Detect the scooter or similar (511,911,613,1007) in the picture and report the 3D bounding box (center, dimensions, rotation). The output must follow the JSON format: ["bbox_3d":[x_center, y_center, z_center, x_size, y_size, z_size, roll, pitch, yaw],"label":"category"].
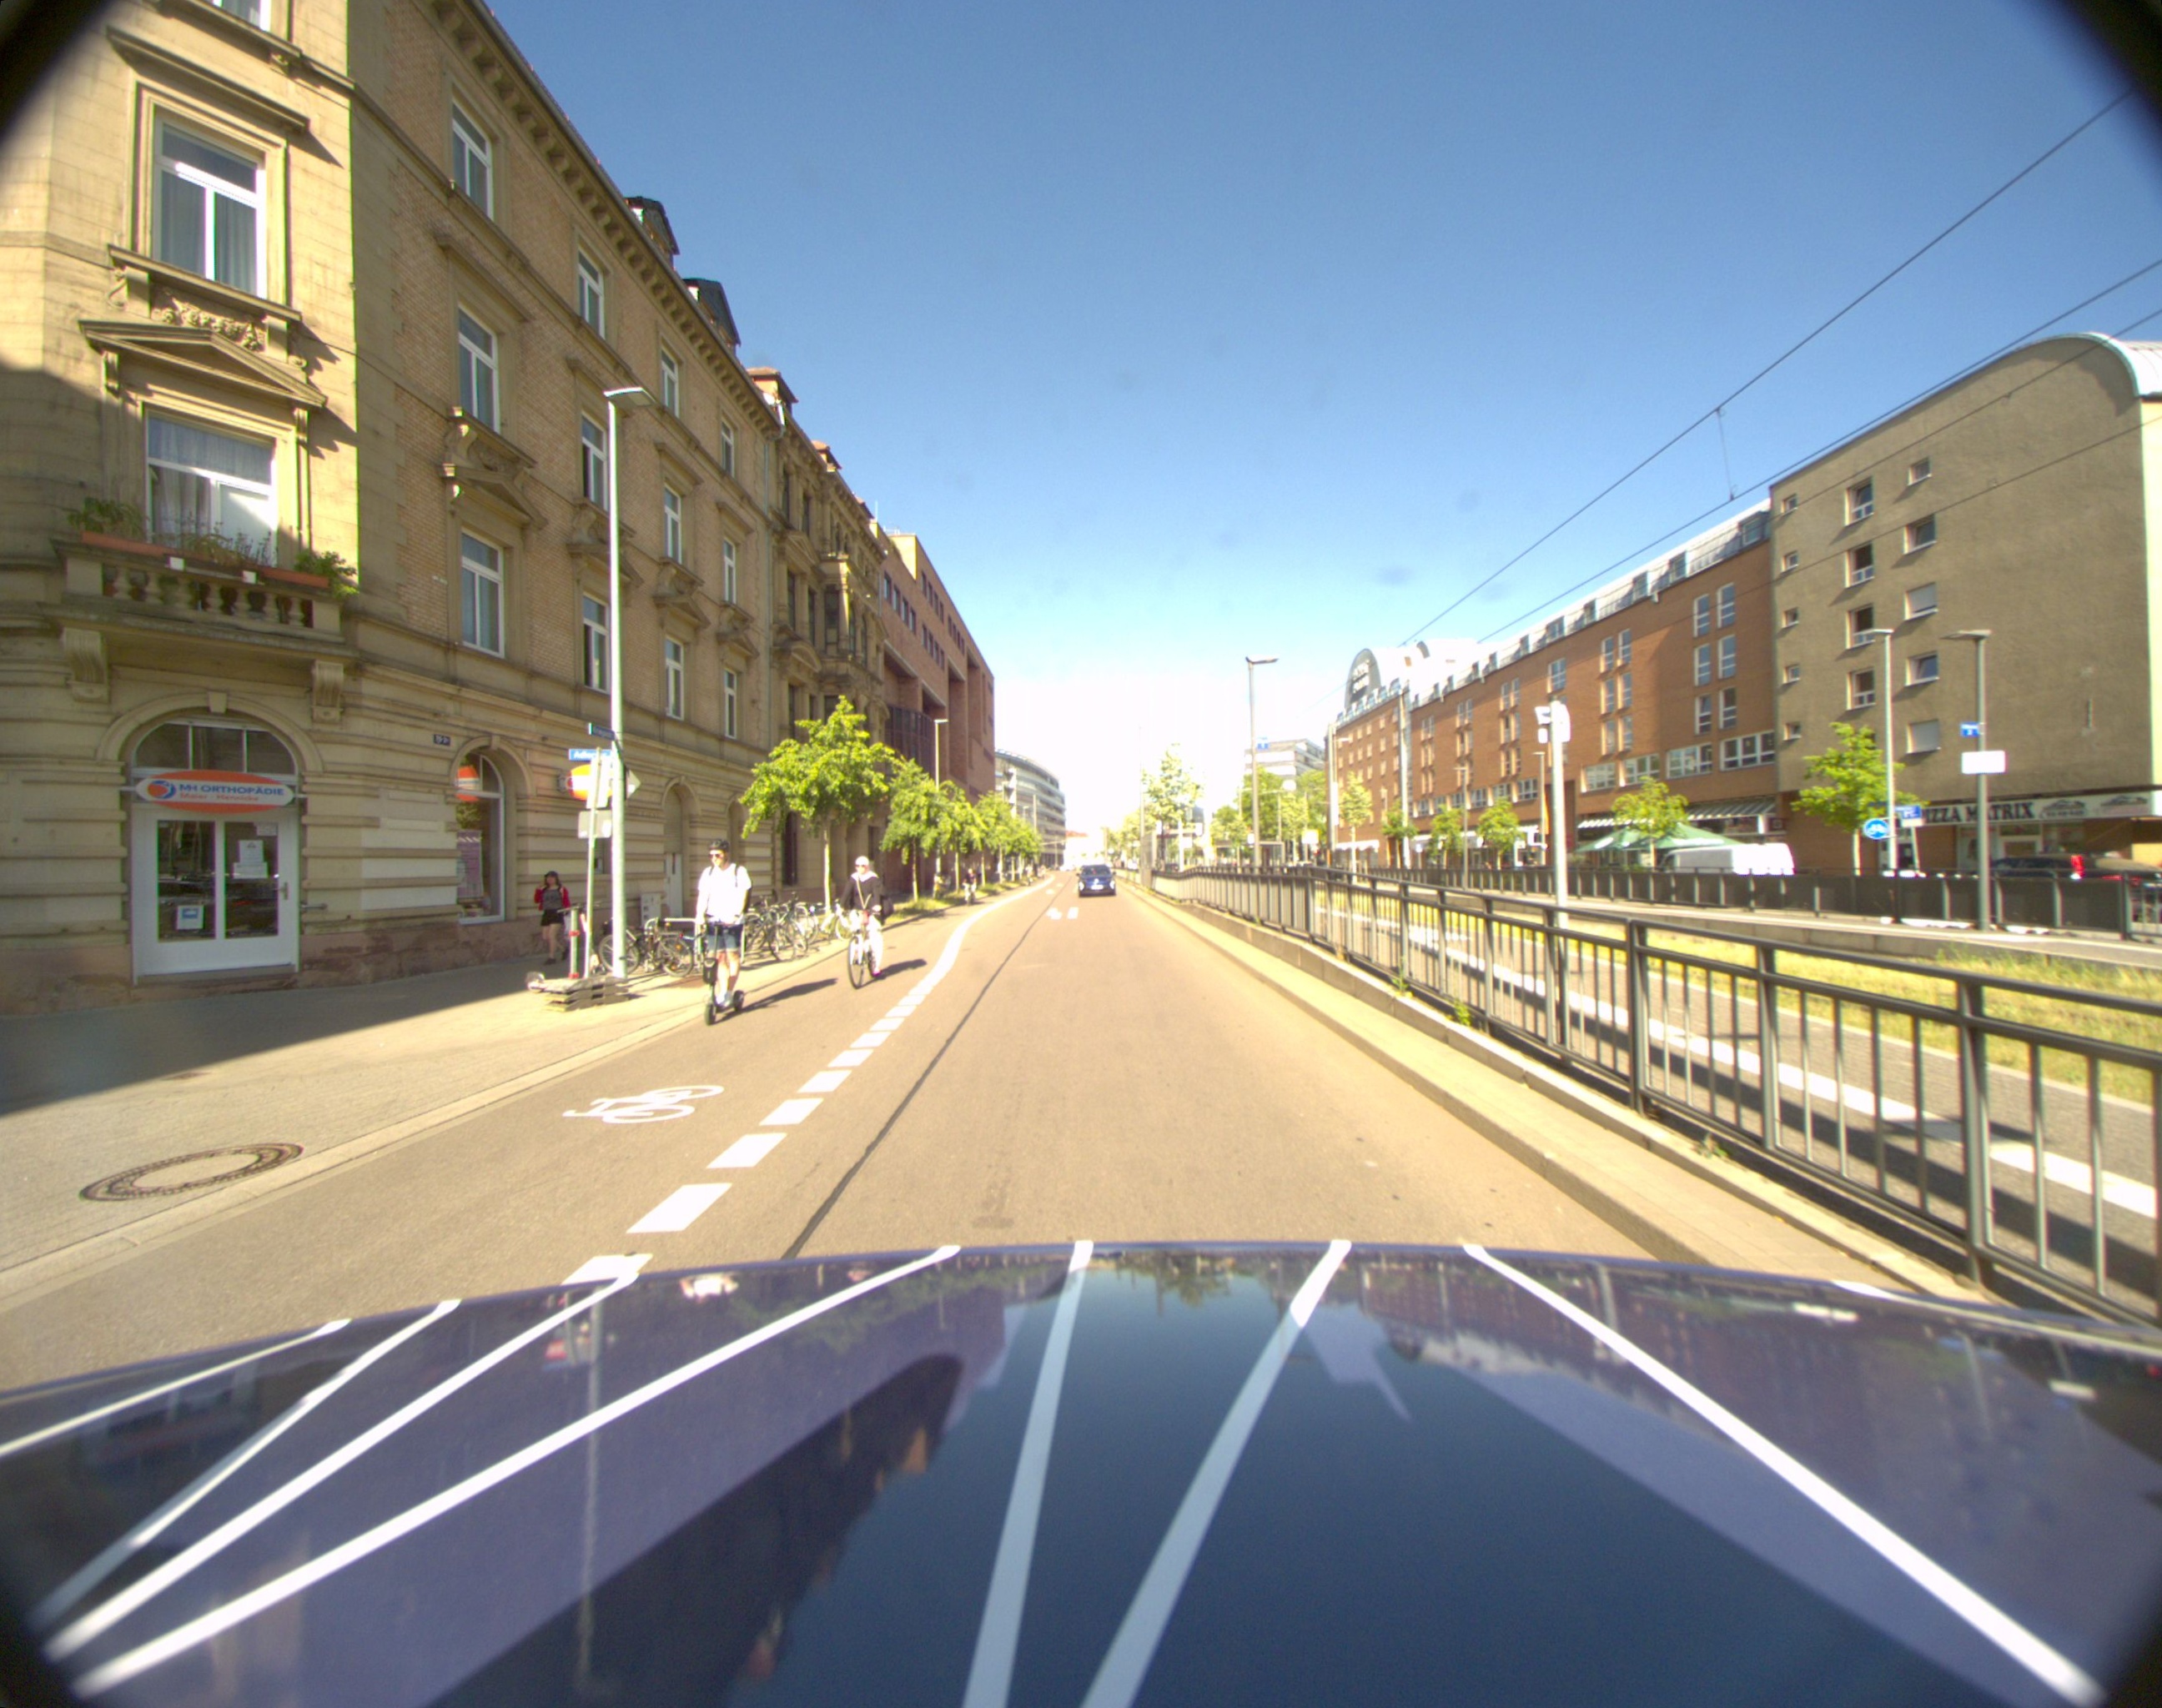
[{"bbox_3d":[-6.778,1.356,9.934,1.113,1.182,0.419,0,0,8],"label":"scooter or similar"}]

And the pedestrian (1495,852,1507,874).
[{"bbox_3d":[35.348,0.790,63.913,0.622,1.829,0.644,-1,0,-1],"label":"pedestrian"}]

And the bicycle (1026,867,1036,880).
[{"bbox_3d":[-4.316,1.709,65.764,0.578,1.090,1.507,-3,0,2],"label":"bicycle"}]

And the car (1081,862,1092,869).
[{"bbox_3d":[1.190,2.622,171.732,1.882,1.455,4.002,-2,0,8],"label":"car"}]

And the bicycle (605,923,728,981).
[{"bbox_3d":[-6.536,1.530,12.007,1.673,0.816,0.607,0,0,7],"label":"bicycle"}]

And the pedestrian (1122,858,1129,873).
[{"bbox_3d":[4.970,1.276,84.859,0.710,1.713,0.752,-1,0,-1],"label":"pedestrian"}]

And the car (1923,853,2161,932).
[{"bbox_3d":[24.200,0.873,19.018,1.819,1.749,4.000,-1,0,0],"label":"car"}]

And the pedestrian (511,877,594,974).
[{"bbox_3d":[-8.844,1.176,12.744,0.711,1.533,0.927,-1,0,0],"label":"pedestrian"}]

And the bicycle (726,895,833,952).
[{"bbox_3d":[-6.462,1.475,16.351,1.999,1.121,0.710,1,0,2],"label":"bicycle"}]

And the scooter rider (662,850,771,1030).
[{"bbox_3d":[-4.001,0.903,8.410,0.668,1.850,0.901,-3,0,0],"label":"scooter rider"}]

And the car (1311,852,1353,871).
[{"bbox_3d":[18.251,0.512,55.461,1.699,1.279,3.960,-2,0,0],"label":"car"}]

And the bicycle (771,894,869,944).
[{"bbox_3d":[-6.046,1.506,17.718,2.001,1.086,0.846,1,0,-9],"label":"bicycle"}]

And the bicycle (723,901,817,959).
[{"bbox_3d":[-6.141,1.498,15.035,1.603,1.039,0.607,1,0,4],"label":"bicycle"}]

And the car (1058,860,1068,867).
[{"bbox_3d":[-4.349,2.405,188.435,1.882,1.455,4.002,-2,0,7],"label":"car"}]

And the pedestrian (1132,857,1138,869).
[{"bbox_3d":[7.117,1.249,100.704,0.608,1.560,0.728,-2,0,21],"label":"pedestrian"}]

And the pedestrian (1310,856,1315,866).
[{"bbox_3d":[38.488,1.198,126.090,0.645,1.600,0.728,-1,0,5],"label":"pedestrian"}]

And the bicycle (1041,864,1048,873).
[{"bbox_3d":[-4.540,1.829,94.368,0.578,1.090,1.507,-3,0,3],"label":"bicycle"}]

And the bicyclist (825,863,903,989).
[{"bbox_3d":[-3.090,0.996,10.919,0.781,1.701,0.868,-3,0,0],"label":"bicyclist"}]

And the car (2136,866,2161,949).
[{"bbox_3d":[18.490,0.892,10.909,1.578,1.368,3.653,1,0,0],"label":"car"}]

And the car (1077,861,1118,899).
[{"bbox_3d":[0.798,1.212,37.045,1.802,1.596,4.000,-2,0,1],"label":"car"}]

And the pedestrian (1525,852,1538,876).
[{"bbox_3d":[34.835,0.754,58.704,0.622,1.829,0.645,-1,0,1],"label":"pedestrian"}]

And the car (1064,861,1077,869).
[{"bbox_3d":[-2.364,2.485,172.630,2.120,1.547,4.003,-1,0,9],"label":"car"}]

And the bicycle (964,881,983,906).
[{"bbox_3d":[-4.764,1.726,33.725,0.558,1.021,1.507,-3,0,0],"label":"bicycle"}]

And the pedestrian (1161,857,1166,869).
[{"bbox_3d":[10.899,1.243,100.530,0.609,1.560,0.909,-1,0,8],"label":"pedestrian"}]

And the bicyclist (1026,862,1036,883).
[{"bbox_3d":[-4.323,1.600,65.648,0.684,1.718,0.909,-3,0,3],"label":"bicyclist"}]

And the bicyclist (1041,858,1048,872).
[{"bbox_3d":[-4.515,1.380,94.469,0.755,1.607,0.762,-3,0,3],"label":"bicyclist"}]

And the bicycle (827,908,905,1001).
[{"bbox_3d":[-3.053,1.399,10.941,0.558,1.086,1.792,-3,0,0],"label":"bicycle"}]

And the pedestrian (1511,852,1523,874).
[{"bbox_3d":[35.737,0.753,62.283,0.622,1.829,0.644,-1,0,-1],"label":"pedestrian"}]

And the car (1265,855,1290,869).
[{"bbox_3d":[24.374,0.959,94.280,1.998,1.674,4.000,-2,0,1],"label":"car"}]

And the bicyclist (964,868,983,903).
[{"bbox_3d":[-4.766,1.388,33.761,0.659,1.528,0.909,-3,0,0],"label":"bicyclist"}]

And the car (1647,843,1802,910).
[{"bbox_3d":[25.331,0.830,30.265,1.997,2.356,5.649,-1,0,8],"label":"car"}]

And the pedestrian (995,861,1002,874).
[{"bbox_3d":[-9.343,1.495,85.869,0.633,1.478,0.736,-1,0,0],"label":"pedestrian"}]

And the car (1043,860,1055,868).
[{"bbox_3d":[-7.263,2.273,173.113,1.882,1.455,4.002,-2,0,7],"label":"car"}]

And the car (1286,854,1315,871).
[{"bbox_3d":[24.127,0.900,83.733,1.998,1.674,4.000,-2,0,1],"label":"car"}]

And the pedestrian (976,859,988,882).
[{"bbox_3d":[-8.204,1.367,63.193,0.790,1.872,1.106,-1,0,0],"label":"pedestrian"}]

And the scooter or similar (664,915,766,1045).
[{"bbox_3d":[-3.987,1.332,8.354,0.492,1.219,1.170,-3,0,0],"label":"scooter or similar"}]

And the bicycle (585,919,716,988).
[{"bbox_3d":[-6.407,1.462,11.339,1.673,0.938,0.607,0,0,8],"label":"bicycle"}]

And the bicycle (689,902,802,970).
[{"bbox_3d":[-5.938,1.444,13.477,1.727,1.094,0.607,1,0,4],"label":"bicycle"}]
